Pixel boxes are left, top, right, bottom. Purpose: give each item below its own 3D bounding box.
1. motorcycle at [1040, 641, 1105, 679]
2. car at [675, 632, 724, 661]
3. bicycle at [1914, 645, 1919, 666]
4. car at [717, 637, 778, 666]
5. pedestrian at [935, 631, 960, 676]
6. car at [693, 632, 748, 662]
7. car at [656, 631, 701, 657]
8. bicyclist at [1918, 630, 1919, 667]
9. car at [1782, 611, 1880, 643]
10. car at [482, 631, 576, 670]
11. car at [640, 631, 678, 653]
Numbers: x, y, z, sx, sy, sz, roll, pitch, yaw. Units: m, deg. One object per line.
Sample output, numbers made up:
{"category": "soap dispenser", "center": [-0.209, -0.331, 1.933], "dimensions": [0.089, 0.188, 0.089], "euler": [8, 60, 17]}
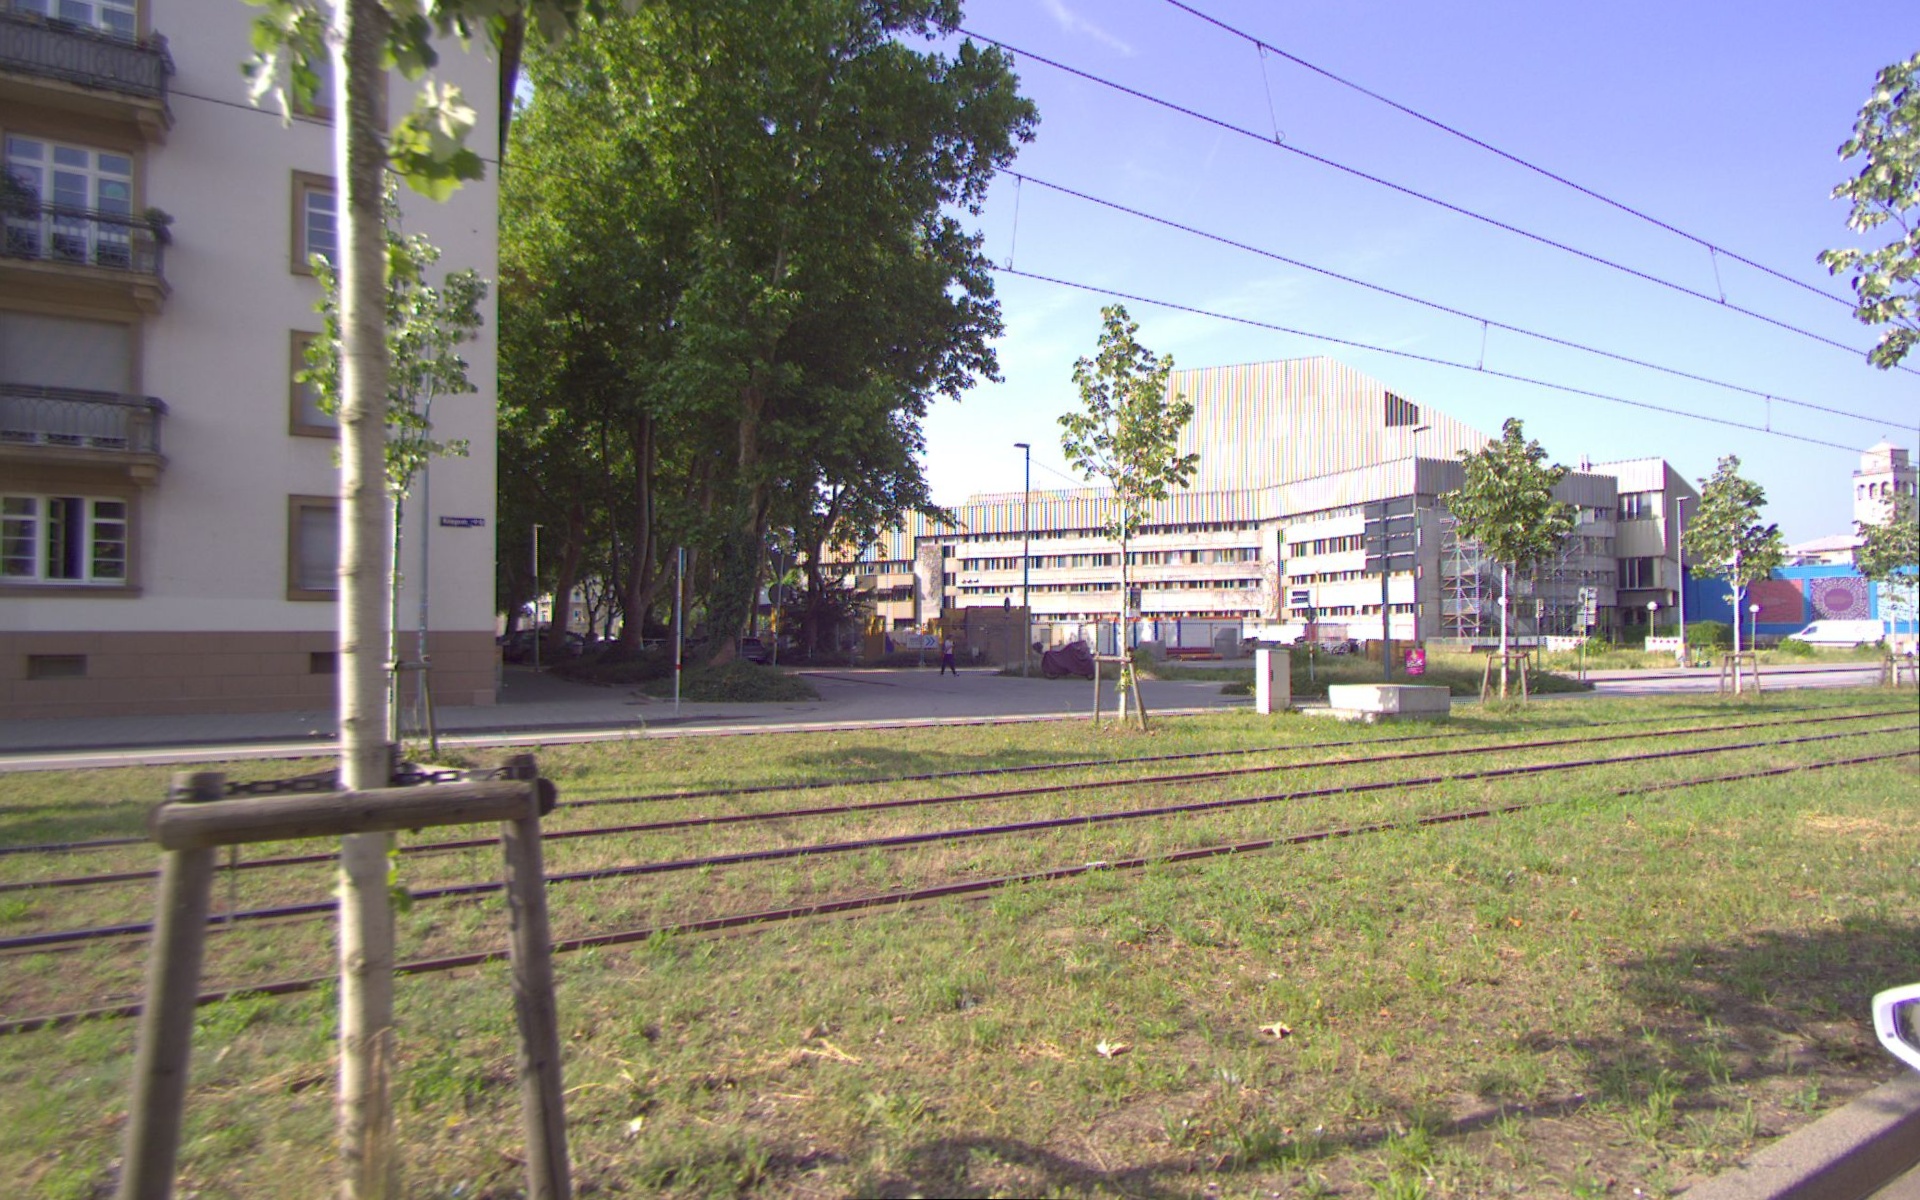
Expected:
{"category": "motorcycle", "center": [4.175, 2.217, 37.268], "dimensions": [2.253, 1.387, 0.818], "euler": [-1, -2, 24]}
{"category": "car", "center": [-15.730, 2.777, 60.506], "dimensions": [1.976, 1.628, 3.970], "euler": [1, -2, -29]}
{"category": "bicycle", "center": [46.146, 2.640, 47.679], "dimensions": [2.053, 0.973, 0.659], "euler": [1, -4, -30]}
{"category": "car", "center": [-10.911, 2.625, 51.402], "dimensions": [1.976, 1.394, 3.970], "euler": [1, -2, -29]}
{"category": "pedestrian", "center": [-0.483, 2.036, 38.446], "dimensions": [0.725, 1.699, 0.675], "euler": [-1, -2, 35]}
{"category": "car", "center": [-13.311, 2.584, 55.690], "dimensions": [1.976, 1.628, 3.970], "euler": [1, -2, -29]}
{"category": "car", "center": [-18.300, 2.857, 65.102], "dimensions": [1.976, 1.628, 3.970], "euler": [1, -2, -29]}
{"category": "bicyclist", "center": [46.163, 2.280, 47.727], "dimensions": [0.907, 1.758, 0.644], "euler": [1, -4, -29]}
{"category": "car", "center": [80.502, 2.451, 93.001], "dimensions": [6.794, 2.674, 2.502], "euler": [1, 0, 41]}
{"category": "car", "center": [-20.709, 2.395, 48.281], "dimensions": [3.952, 1.773, 1.985], "euler": [1, -2, -30]}
{"category": "car", "center": [-20.933, 2.894, 69.771], "dimensions": [1.724, 1.496, 3.970], "euler": [1, -2, -29]}
